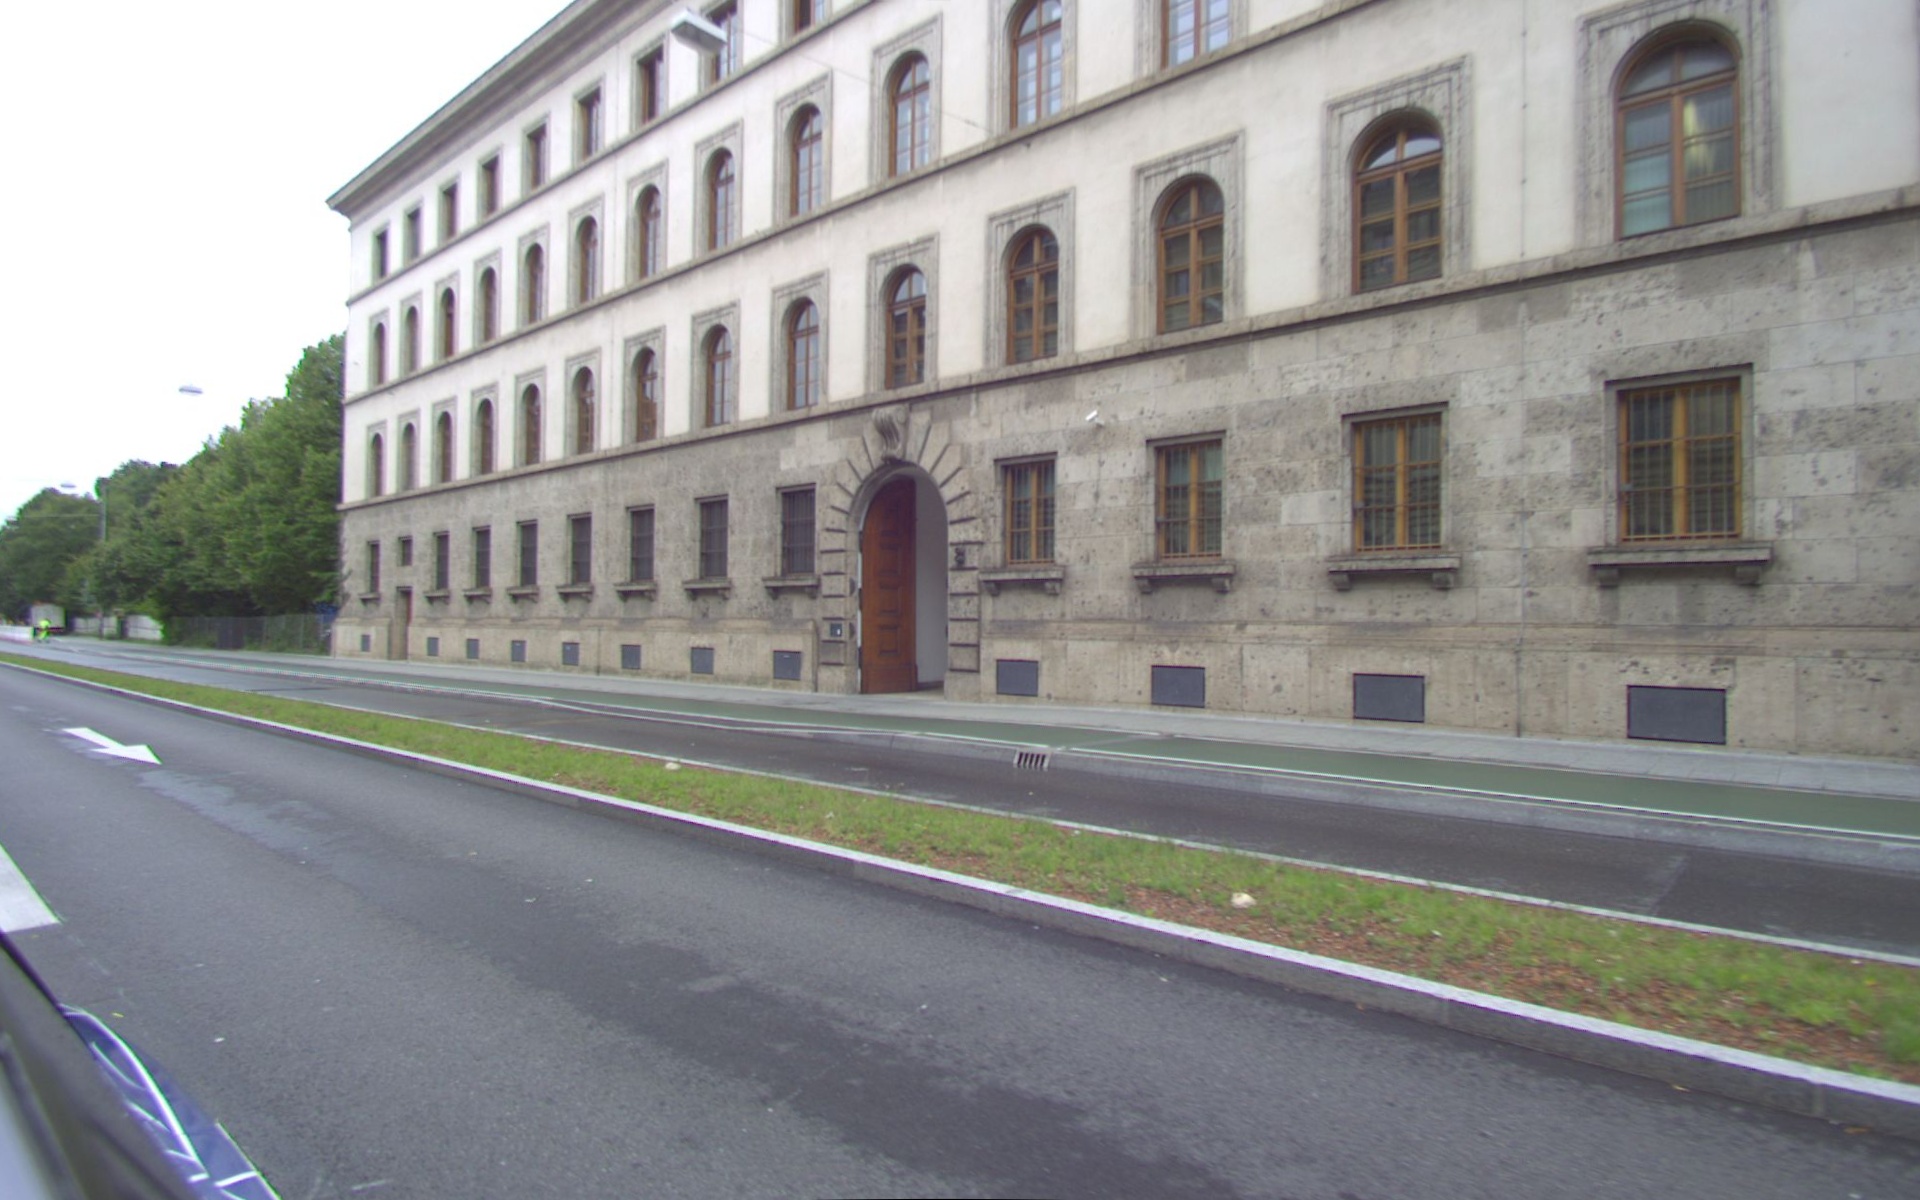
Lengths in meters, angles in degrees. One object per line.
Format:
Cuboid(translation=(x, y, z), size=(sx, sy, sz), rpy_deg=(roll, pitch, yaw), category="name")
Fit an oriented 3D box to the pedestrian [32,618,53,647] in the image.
Cuboid(translation=(-65.404, 2.321, 72.158), size=(0.748, 2.029, 0.867), rpy_deg=(-1, -1, 3), category="pedestrian")
